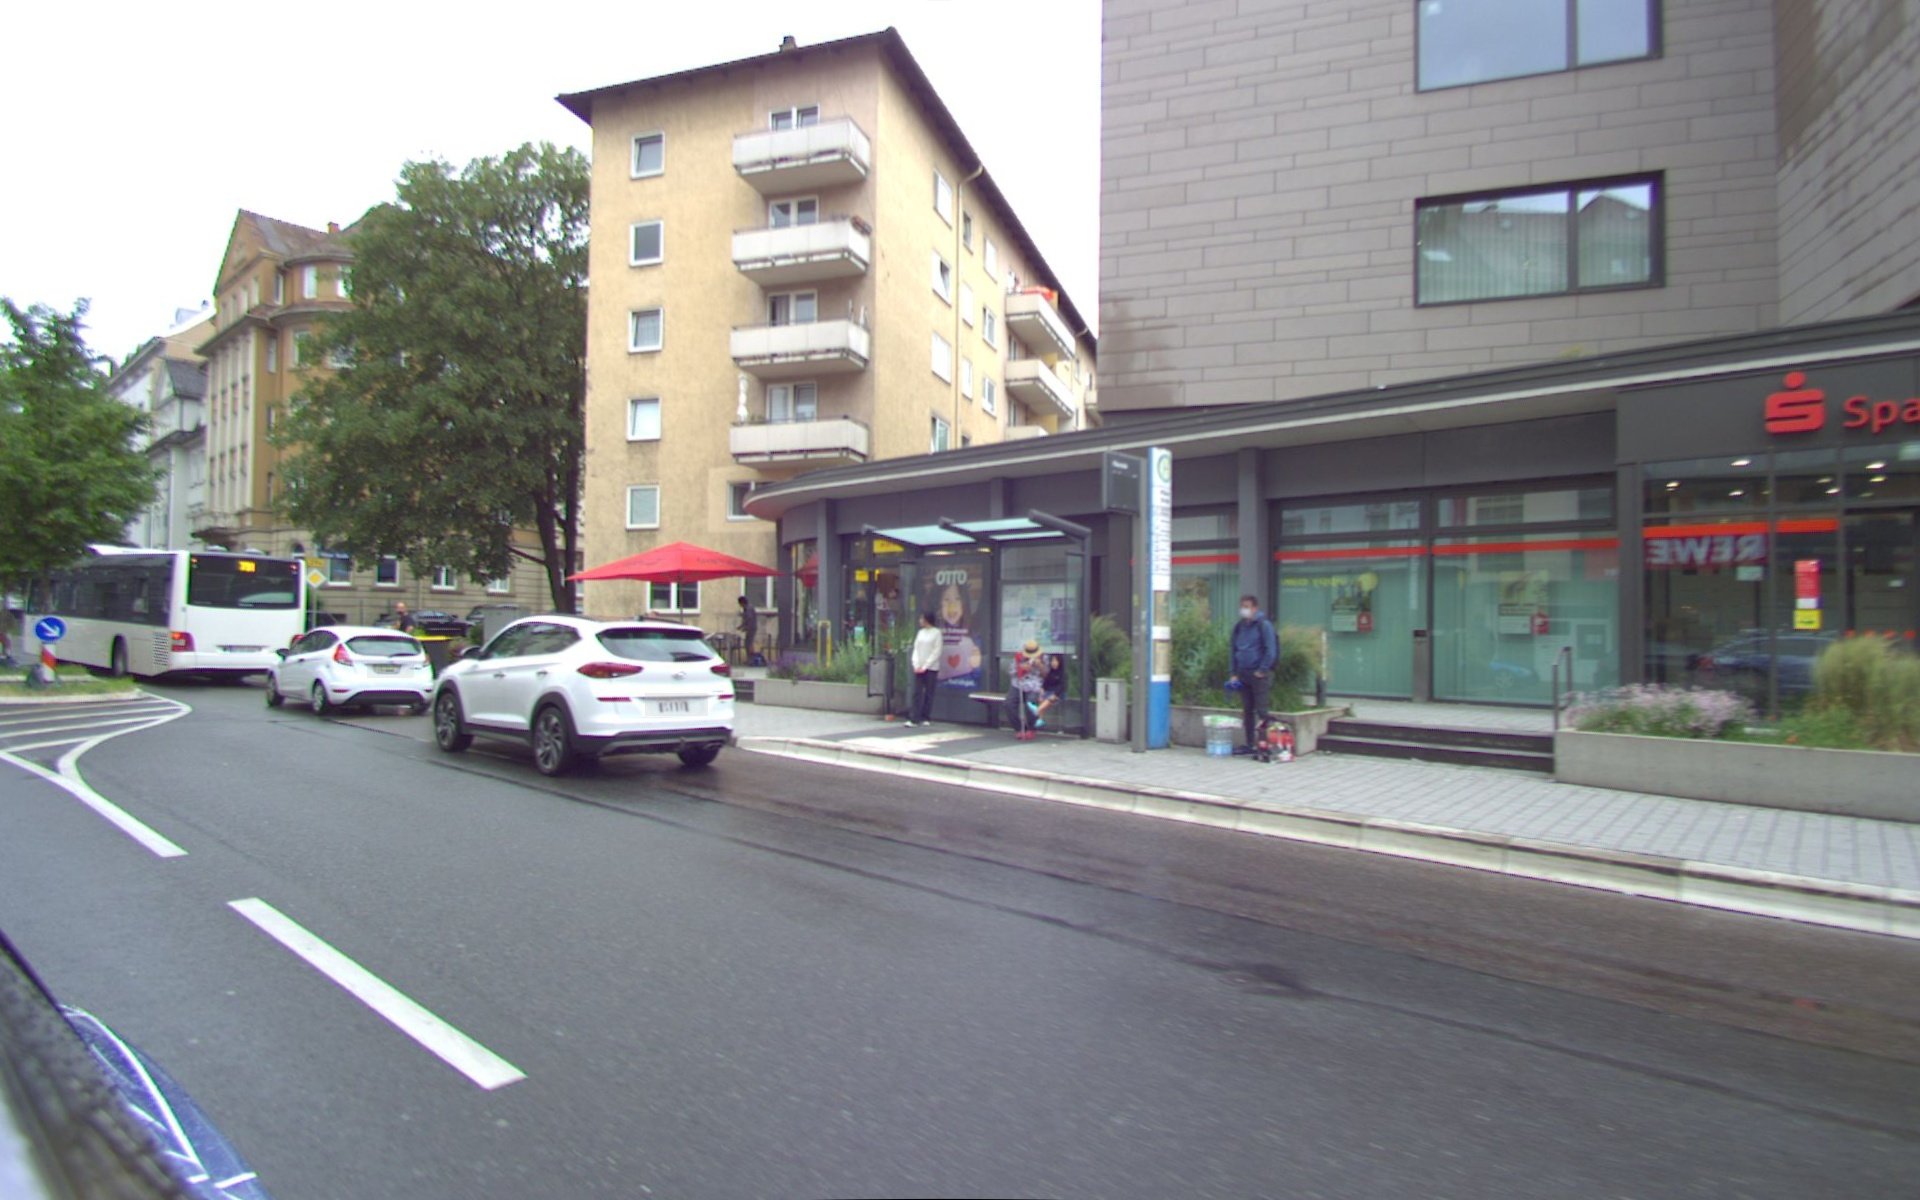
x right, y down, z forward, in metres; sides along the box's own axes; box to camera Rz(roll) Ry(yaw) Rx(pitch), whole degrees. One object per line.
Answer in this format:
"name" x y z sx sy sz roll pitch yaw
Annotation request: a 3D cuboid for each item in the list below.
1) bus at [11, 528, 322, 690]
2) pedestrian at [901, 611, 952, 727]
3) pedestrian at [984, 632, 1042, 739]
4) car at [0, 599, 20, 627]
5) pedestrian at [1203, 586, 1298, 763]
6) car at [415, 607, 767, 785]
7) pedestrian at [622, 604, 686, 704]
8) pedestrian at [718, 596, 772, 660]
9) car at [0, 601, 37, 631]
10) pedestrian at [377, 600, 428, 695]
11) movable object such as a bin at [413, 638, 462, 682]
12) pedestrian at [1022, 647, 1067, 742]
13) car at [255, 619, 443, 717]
"bus" -20.298 0.208 25.444 11.939 3.271 2.780 1 -5 36
"pedestrian" -0.459 0.927 13.875 0.533 1.561 0.433 -1 -2 40
"pedestrian" 0.663 1.050 12.671 0.549 1.287 0.463 -1 -2 41
"car" -56.362 0.758 59.163 3.391 1.527 1.651 0 1 40
"pedestrian" 3.144 0.776 10.960 0.868 1.833 0.584 0 -1 33
"car" -4.231 0.938 11.302 4.123 1.585 1.875 0 -3 41
"pedestrian" -5.457 0.949 18.072 0.756 1.721 0.788 -1 0 16
"pedestrian" -5.595 0.729 26.424 0.934 1.624 1.146 -1 0 16
"car" -52.307 0.860 55.764 3.694 1.527 1.651 0 1 40
"pedestrian" -12.221 1.022 22.182 0.782 2.029 0.695 0 -1 37
"movable object such as a bin" -13.187 1.504 25.566 0.806 1.066 0.739 1 -1 16
"pedestrian" 1.033 1.141 12.385 0.386 1.125 0.387 -1 -2 41
"car" -10.544 1.128 17.371 3.804 1.475 1.598 0 -4 41
